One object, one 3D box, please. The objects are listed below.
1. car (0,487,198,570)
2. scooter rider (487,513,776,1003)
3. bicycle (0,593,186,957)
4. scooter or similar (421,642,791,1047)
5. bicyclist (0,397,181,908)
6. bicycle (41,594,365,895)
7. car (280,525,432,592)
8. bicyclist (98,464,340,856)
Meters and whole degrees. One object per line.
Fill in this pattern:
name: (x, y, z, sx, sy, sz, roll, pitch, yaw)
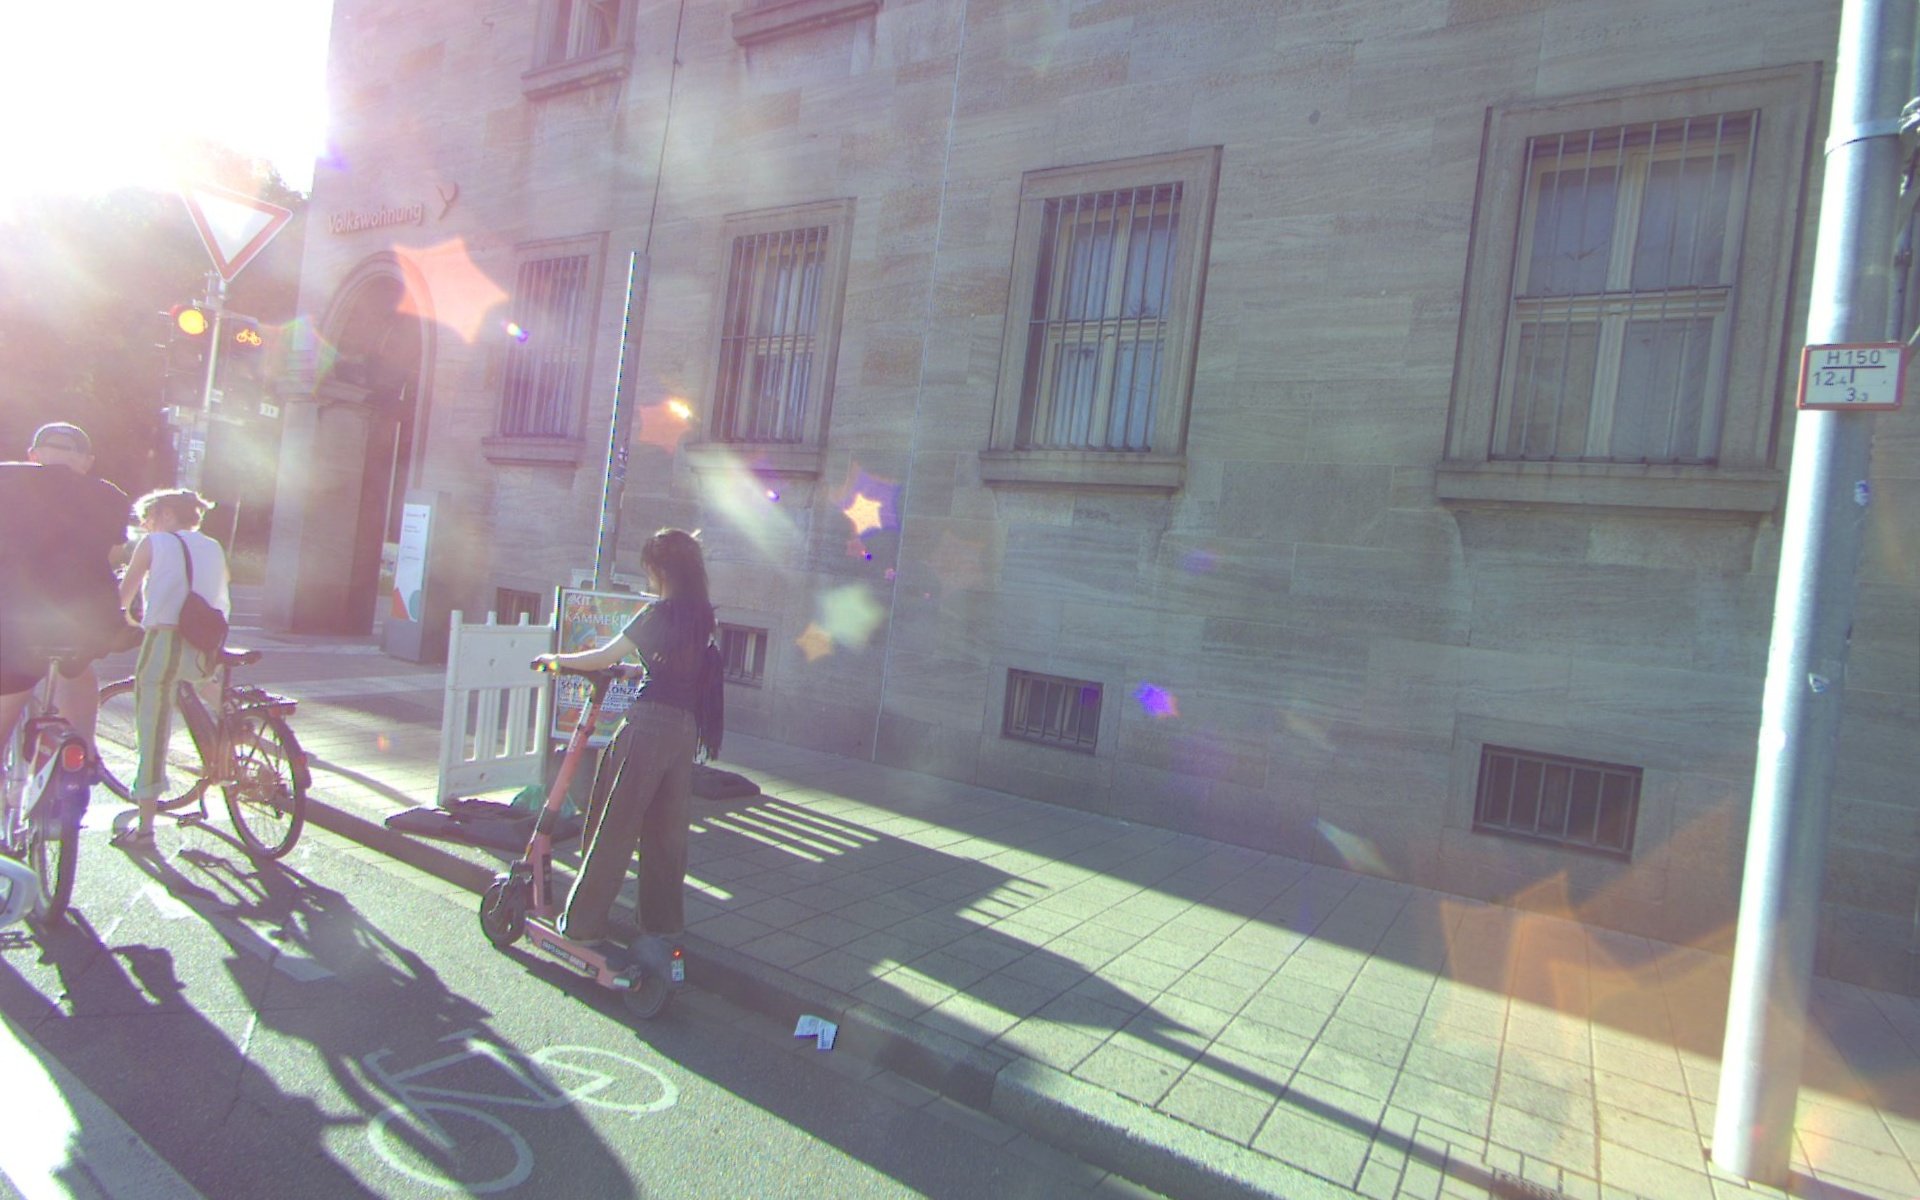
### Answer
car: (-23.371, -1.893, 27.202, 1.622, 1.630, 3.999, 7, -1, 31)
scooter rider: (-1.272, 0.568, 3.963, 0.547, 1.691, 0.730, 7, 0, 31)
bicycle: (-3.737, 0.576, 3.931, 1.700, 1.090, 0.516, 7, -1, 34)
scooter or similar: (-1.400, 0.851, 3.916, 1.305, 1.199, 0.535, 7, 0, 31)
bicyclist: (-3.548, 0.195, 3.860, 0.541, 1.820, 0.559, 7, -1, 33)
bicycle: (-3.681, 0.623, 4.848, 1.721, 1.090, 0.535, 7, -1, 31)
car: (-19.775, -1.329, 33.078, 1.623, 1.630, 3.854, 7, -1, 31)
bicyclist: (-3.534, 0.268, 4.810, 0.629, 1.711, 0.558, 7, -1, 30)
